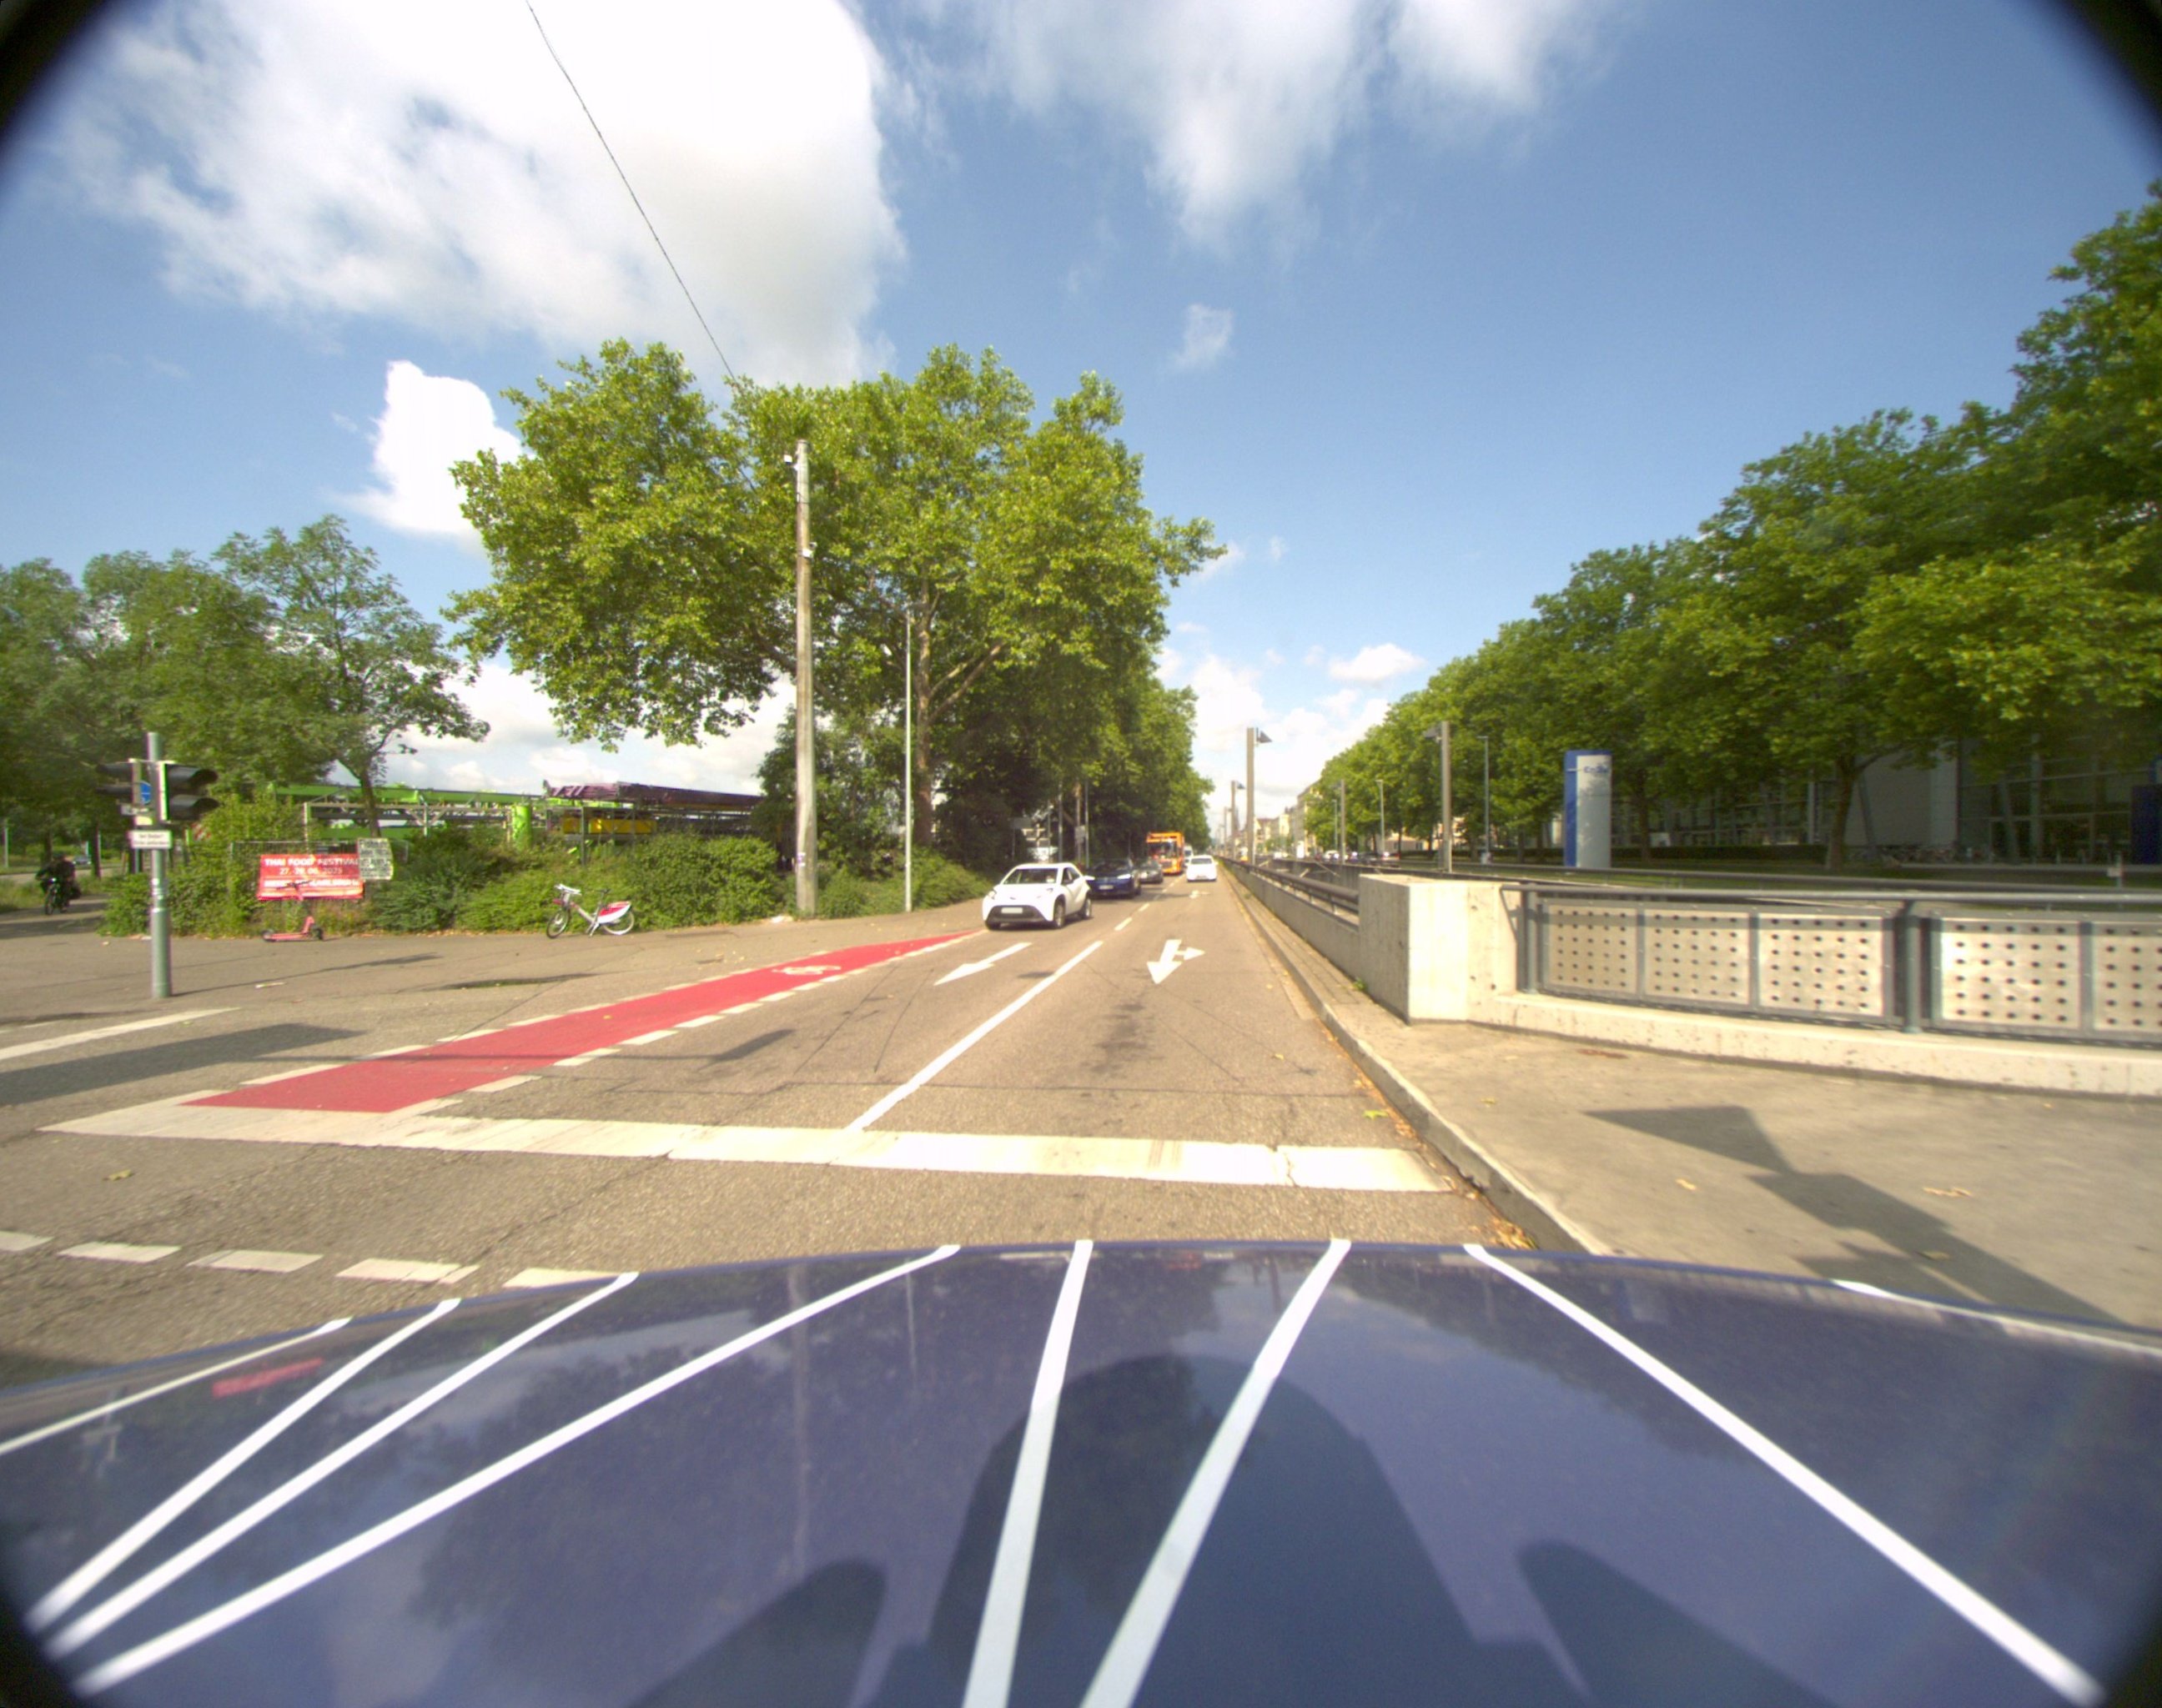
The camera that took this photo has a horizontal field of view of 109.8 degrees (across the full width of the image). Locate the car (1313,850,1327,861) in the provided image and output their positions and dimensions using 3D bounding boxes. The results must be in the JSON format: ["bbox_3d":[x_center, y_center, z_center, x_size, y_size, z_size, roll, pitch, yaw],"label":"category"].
[{"bbox_3d":[32.645,0.189,103.758,1.308,1.368,3.186,1,2,10],"label":"car"}]

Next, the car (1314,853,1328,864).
[{"bbox_3d":[31.221,0.561,98.925,1.308,1.368,3.186,1,2,10],"label":"car"}]

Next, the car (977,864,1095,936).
[{"bbox_3d":[-0.961,1.039,18.341,1.747,1.470,3.803,-2,0,14],"label":"car"}]

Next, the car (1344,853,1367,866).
[{"bbox_3d":[28.852,0.594,79.950,1.610,1.199,3.129,1,2,9],"label":"car"}]

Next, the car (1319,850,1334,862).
[{"bbox_3d":[30.559,0.279,94.545,1.308,1.368,3.186,1,2,10],"label":"car"}]

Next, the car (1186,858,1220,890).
[{"bbox_3d":[7.014,1.130,43.959,1.735,1.478,3.602,-4,2,8],"label":"car"}]

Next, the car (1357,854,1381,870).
[{"bbox_3d":[27.820,0.731,73.421,1.581,1.426,3.158,1,2,10],"label":"car"}]

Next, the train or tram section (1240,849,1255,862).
[{"bbox_3d":[34.315,0.344,156.935,2.215,2.444,6.249,-1,2,5],"label":"train or tram section"}]

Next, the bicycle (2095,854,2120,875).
[{"bbox_3d":[50.647,0.505,37.488,2.342,1.017,0.593,-1,2,-34],"label":"bicycle"}]

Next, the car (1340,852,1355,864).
[{"bbox_3d":[29.395,0.464,83.866,1.180,1.236,2.550,0,2,9],"label":"car"}]

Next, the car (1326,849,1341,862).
[{"bbox_3d":[29.661,0.161,89.294,1.166,1.368,2.746,1,2,10],"label":"car"}]

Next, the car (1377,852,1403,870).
[{"bbox_3d":[26.951,0.562,66.284,1.419,1.448,3.158,1,2,10],"label":"car"}]

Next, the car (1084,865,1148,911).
[{"bbox_3d":[1.471,1.299,30.330,1.890,1.566,4.584,-3,-1,10],"label":"car"}]

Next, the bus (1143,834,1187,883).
[{"bbox_3d":[6.883,0.225,61.043,2.742,3.446,10.399,-1,2,10],"label":"bus"}]

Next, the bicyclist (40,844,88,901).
[{"bbox_3d":[-30.661,0.532,22.915,0.679,1.676,0.753,-2,1,-40],"label":"bicyclist"}]

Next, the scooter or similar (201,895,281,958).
[{"bbox_3d":[-15.421,1.329,13.955,1.010,1.105,0.409,-1,2,4],"label":"scooter or similar"}]

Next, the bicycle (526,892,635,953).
[{"bbox_3d":[-9.709,1.308,14.803,1.638,1.037,0.527,-2,4,-18],"label":"bicycle"}]

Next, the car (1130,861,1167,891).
[{"bbox_3d":[3.899,1.234,43.360,1.770,1.456,4.002,-1,2,10],"label":"car"}]

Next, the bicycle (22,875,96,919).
[{"bbox_3d":[-30.633,1.259,22.814,0.793,1.189,2.227,-2,1,-40],"label":"bicycle"}]

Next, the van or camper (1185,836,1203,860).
[{"bbox_3d":[14.005,-0.776,94.241,2.162,2.770,5.968,0,2,9],"label":"van or camper"}]

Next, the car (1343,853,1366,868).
[{"bbox_3d":[28.895,0.664,80.343,1.578,1.368,3.898,1,2,10],"label":"car"}]
